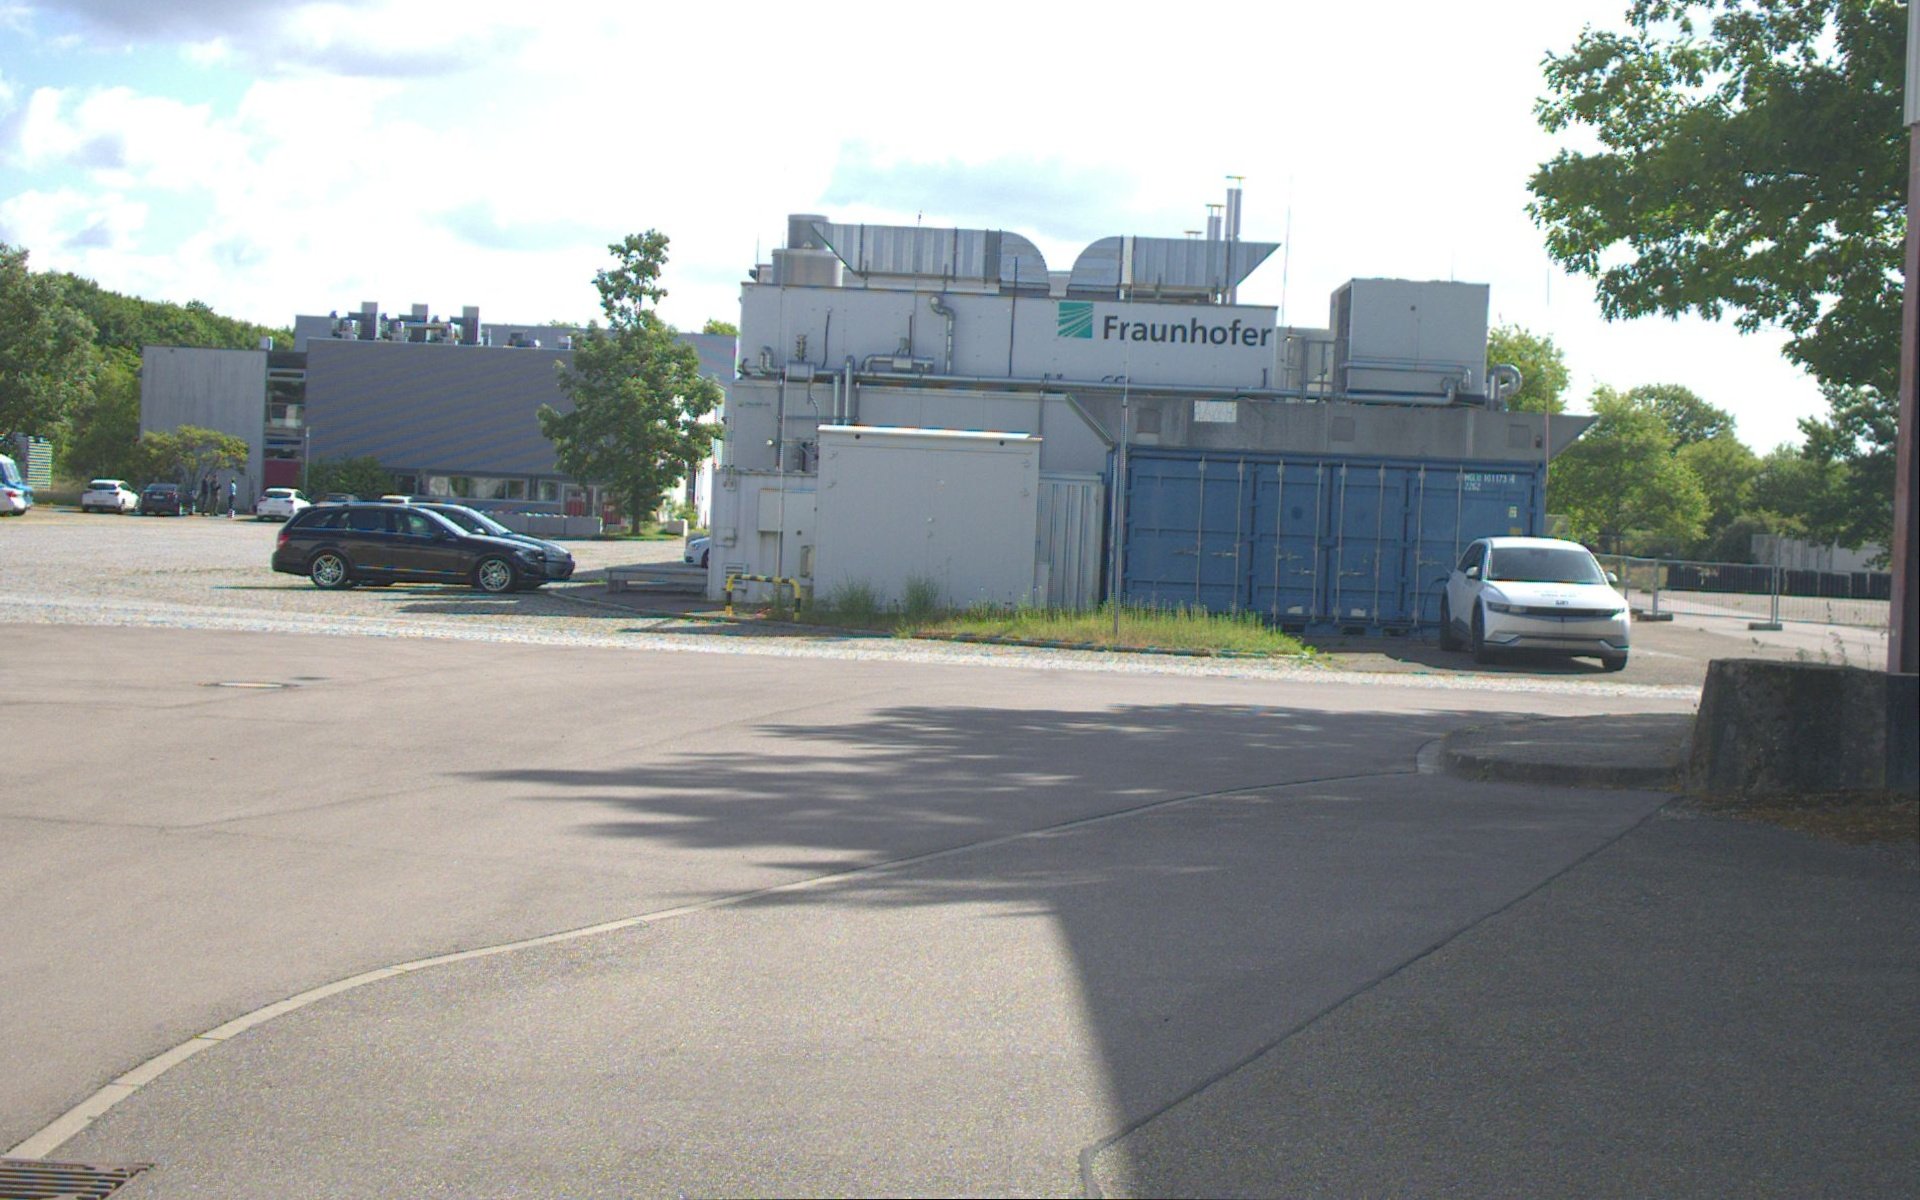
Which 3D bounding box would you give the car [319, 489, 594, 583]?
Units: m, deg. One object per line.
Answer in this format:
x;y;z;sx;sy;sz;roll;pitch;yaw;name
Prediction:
-8.891;-1.123;60.926;4.529;1.438;1.904;2;0;1;car

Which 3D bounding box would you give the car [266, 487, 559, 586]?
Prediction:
-9.140;-1.051;57.670;4.529;1.438;1.987;2;0;1;car

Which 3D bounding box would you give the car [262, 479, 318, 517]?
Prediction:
-30.142;-4.583;154.779;1.877;1.684;4.036;1;1;-2;car

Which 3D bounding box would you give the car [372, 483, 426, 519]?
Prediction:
-25.247;-4.443;154.807;1.877;1.532;4.036;1;1;-2;car

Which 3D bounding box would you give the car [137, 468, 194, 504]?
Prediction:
-35.704;-5.125;154.573;1.877;1.532;4.036;1;1;-5;car

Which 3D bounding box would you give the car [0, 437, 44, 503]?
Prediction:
-37.929;-5.060;131.188;5.259;2.433;2.049;3;1;5;car

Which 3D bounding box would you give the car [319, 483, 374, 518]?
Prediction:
-27.576;-4.470;154.606;1.877;1.532;4.036;1;1;-2;car

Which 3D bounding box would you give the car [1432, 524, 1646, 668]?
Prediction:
7.497;-0.097;44.933;1.981;1.588;4.341;3;3;0;car

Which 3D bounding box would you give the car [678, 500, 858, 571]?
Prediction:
-4.740;-1.596;85.374;4.279;1.564;1.987;2;0;1;car

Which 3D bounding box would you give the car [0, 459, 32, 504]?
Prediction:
-36.978;-4.502;128.249;4.110;1.625;1.807;3;1;5;car

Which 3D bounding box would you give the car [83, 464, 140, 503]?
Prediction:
-38.157;-5.226;154.712;1.846;1.663;4.134;1;1;-5;car
